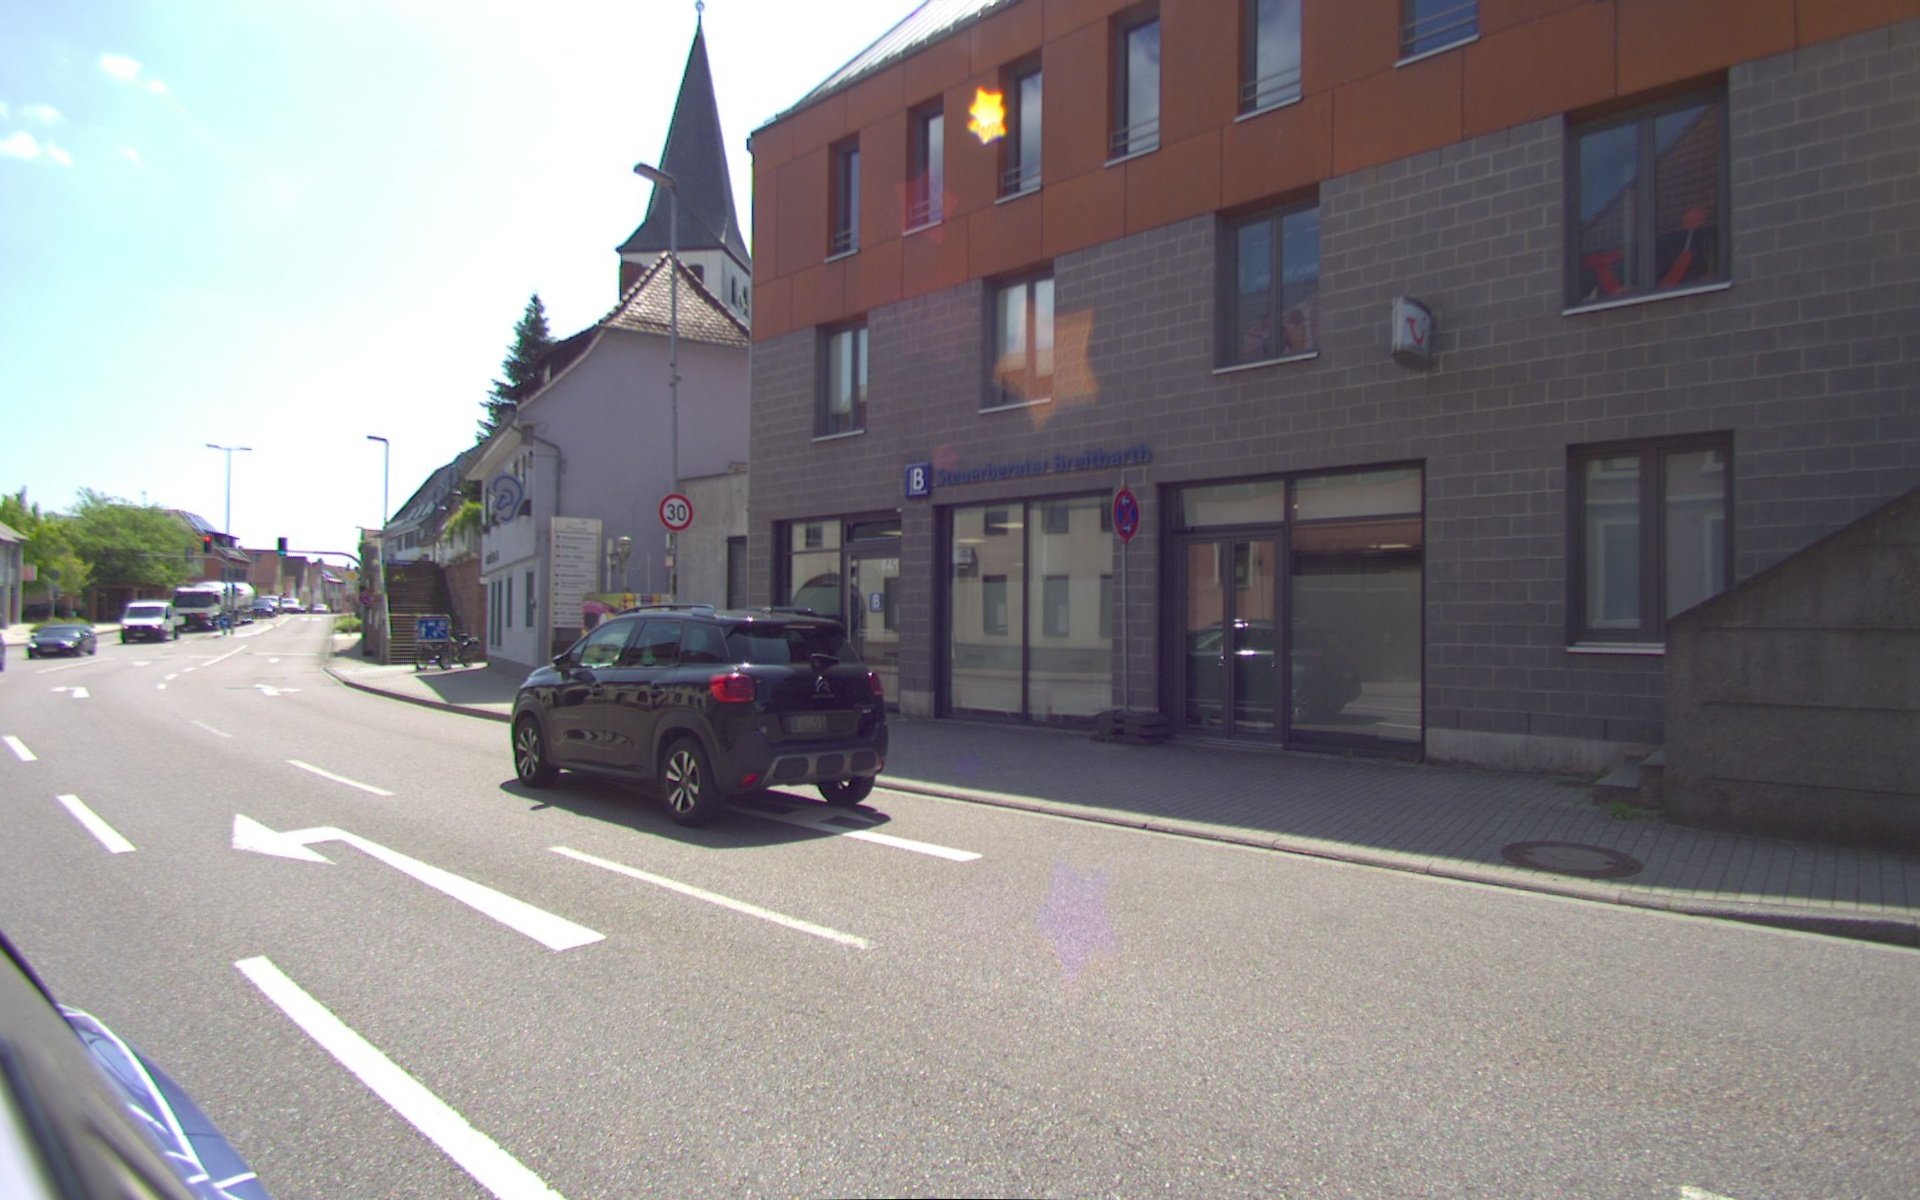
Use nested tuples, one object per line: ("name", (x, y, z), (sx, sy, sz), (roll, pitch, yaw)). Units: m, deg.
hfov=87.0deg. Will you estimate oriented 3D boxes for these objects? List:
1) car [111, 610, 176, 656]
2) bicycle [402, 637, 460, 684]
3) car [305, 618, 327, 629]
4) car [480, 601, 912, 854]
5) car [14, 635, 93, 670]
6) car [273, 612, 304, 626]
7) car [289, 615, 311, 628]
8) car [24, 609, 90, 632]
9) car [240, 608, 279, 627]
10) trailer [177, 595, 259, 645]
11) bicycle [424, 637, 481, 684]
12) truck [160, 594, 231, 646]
("car", (-48.117, 1.934, 59.734), (2.139, 2.583, 4.839), (1, -2, -29))
("bicycle", (-15.565, 1.773, 29.829), (0.571, 1.258, 1.828), (-3, 0, 6))
("car", (-99.385, 3.608, 156.118), (1.978, 1.643, 4.592), (1, -2, -21))
("car", (-2.411, 0.901, 8.664), (4.017, 1.670, 1.651), (-1, -3, 43))
("car", (-39.903, 2.271, 44.644), (1.898, 1.376, 4.315), (0, -1, -32))
("car", (-80.006, 2.312, 120.605), (1.978, 1.643, 4.592), (1, -2, -19))
("car", (-87.996, 2.920, 134.913), (1.978, 1.643, 4.592), (1, -2, -27))
("car", (-72.045, 1.647, 80.775), (3.699, 1.723, 1.729), (-1, 0, -33))
("car", (-63.762, 1.601, 92.164), (1.978, 1.643, 4.592), (1, -2, -22))
("trailer", (-57.215, 1.582, 78.339), (2.790, 3.597, 11.001), (1, -2, -24))
("bicycle", (-14.920, 1.768, 29.828), (0.571, 1.258, 1.828), (-3, 0, 6))
("truck", (-54.420, 1.462, 72.171), (2.800, 3.597, 5.486), (1, -2, -24))
